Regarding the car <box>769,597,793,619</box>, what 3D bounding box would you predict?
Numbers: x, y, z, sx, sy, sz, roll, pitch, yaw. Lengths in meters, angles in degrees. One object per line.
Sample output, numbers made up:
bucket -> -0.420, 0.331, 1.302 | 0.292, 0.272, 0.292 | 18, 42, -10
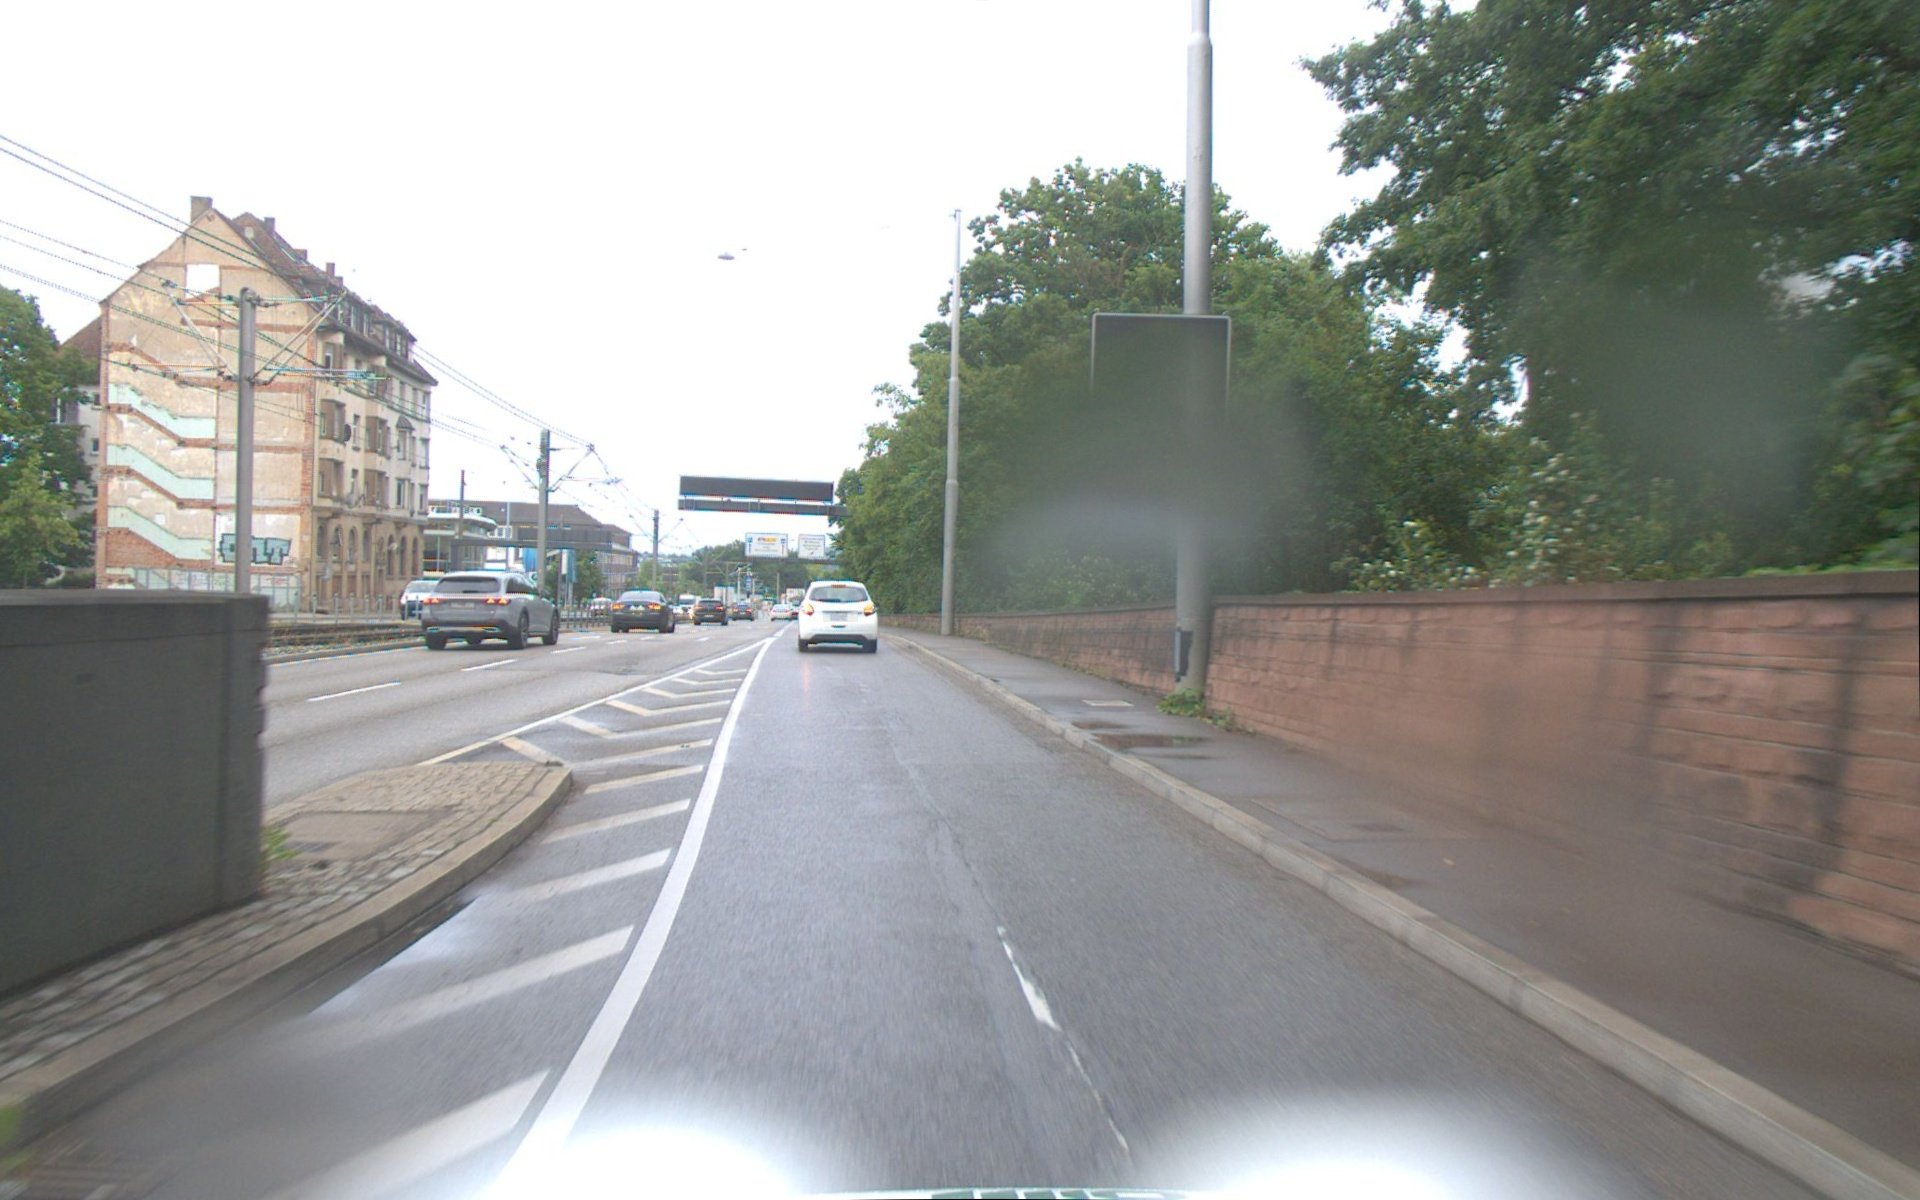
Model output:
car -> -16.122, 0.713, 149.063 | 2.041, 1.905, 4.091 | 1, -1, -5

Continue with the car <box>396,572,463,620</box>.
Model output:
car -> -26.233, -0.164, 81.963 | 1.954, 2.155, 5.105 | 2, -2, -4

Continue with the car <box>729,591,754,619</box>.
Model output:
car -> -18.755, 0.461, 142.187 | 1.955, 2.049, 3.994 | 3, -4, -6

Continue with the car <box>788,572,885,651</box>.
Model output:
car -> -2.704, 0.212, 36.007 | 1.917, 1.513, 3.997 | 3, 1, -5

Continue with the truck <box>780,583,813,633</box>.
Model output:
truck -> -20.517, 1.106, 208.141 | 3.396, 5.496, 12.040 | 2, -4, -3

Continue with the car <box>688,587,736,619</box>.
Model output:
car -> -13.705, 0.173, 91.635 | 1.952, 1.603, 4.000 | 2, -1, 1

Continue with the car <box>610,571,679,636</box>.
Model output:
car -> -10.405, 0.069, 54.669 | 1.687, 1.924, 3.535 | 1, 3, -2

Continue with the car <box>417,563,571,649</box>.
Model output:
car -> -9.223, 0.132, 33.066 | 1.783, 1.593, 4.093 | -1, -1, 2
